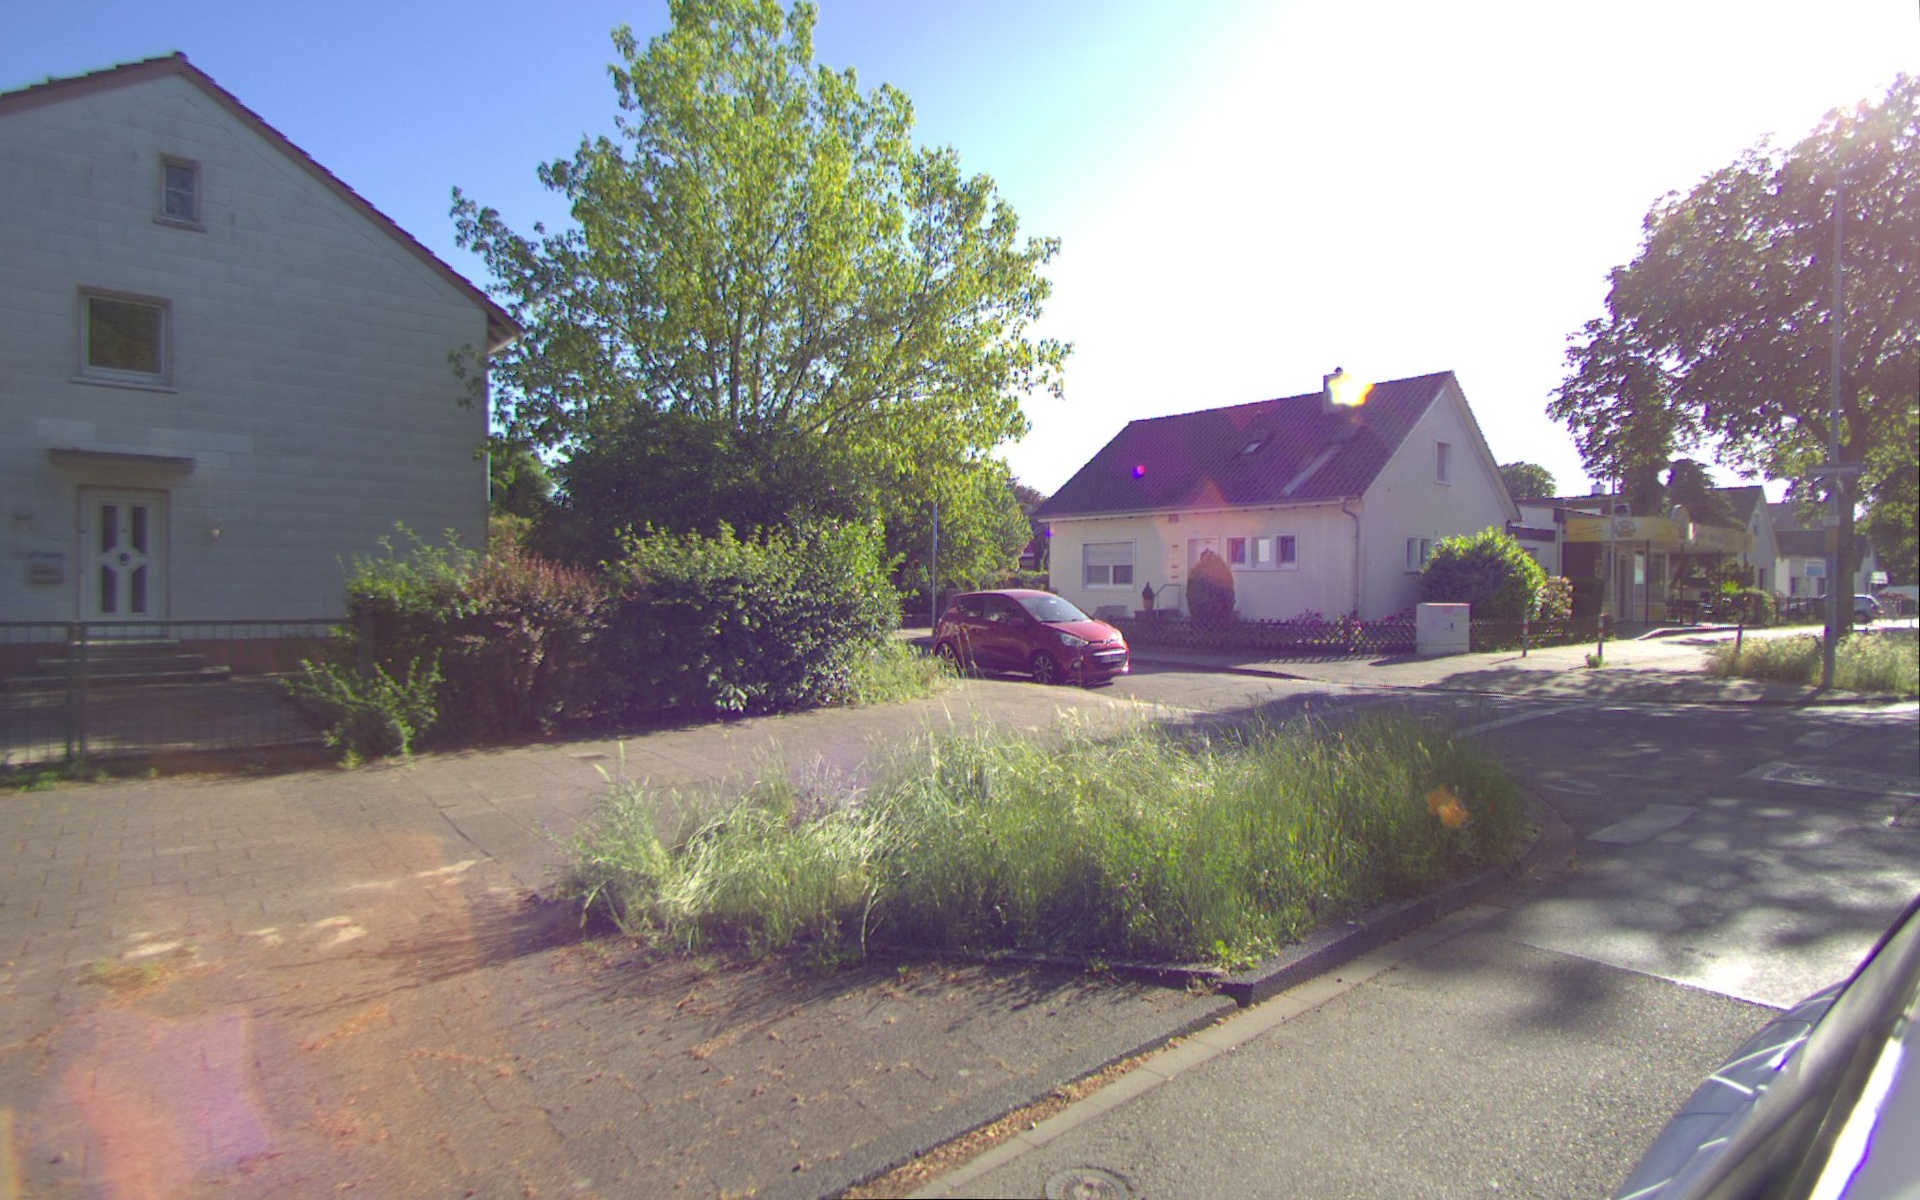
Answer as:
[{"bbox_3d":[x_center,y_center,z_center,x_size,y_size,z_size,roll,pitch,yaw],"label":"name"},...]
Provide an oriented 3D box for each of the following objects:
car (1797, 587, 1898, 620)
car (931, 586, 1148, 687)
[{"bbox_3d":[44.527,0.189,50.805,1.667,1.458,3.614,-1,-2,-42],"label":"car"},{"bbox_3d":[1.274,0.567,17.235,1.612,1.530,3.543,1,-1,-43],"label":"car"}]
